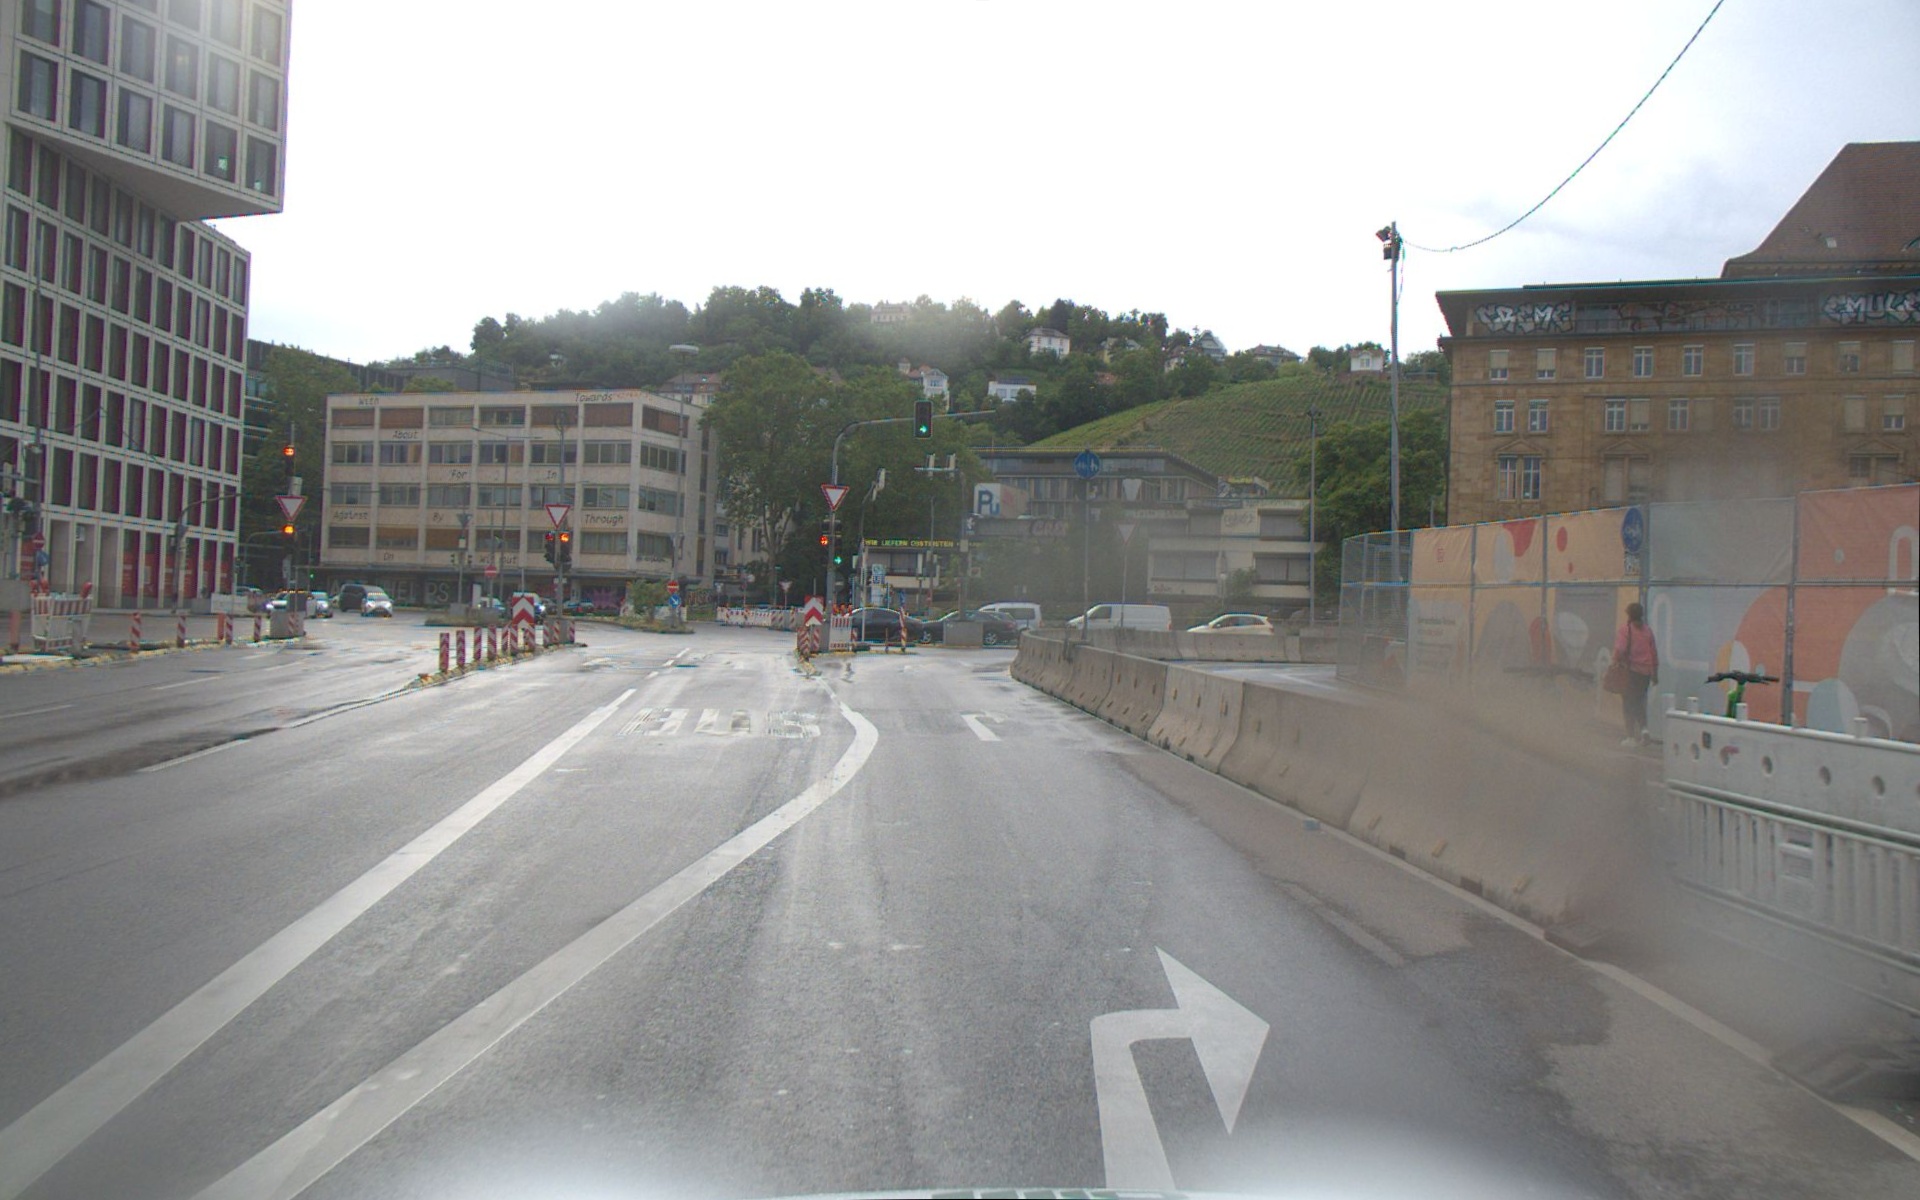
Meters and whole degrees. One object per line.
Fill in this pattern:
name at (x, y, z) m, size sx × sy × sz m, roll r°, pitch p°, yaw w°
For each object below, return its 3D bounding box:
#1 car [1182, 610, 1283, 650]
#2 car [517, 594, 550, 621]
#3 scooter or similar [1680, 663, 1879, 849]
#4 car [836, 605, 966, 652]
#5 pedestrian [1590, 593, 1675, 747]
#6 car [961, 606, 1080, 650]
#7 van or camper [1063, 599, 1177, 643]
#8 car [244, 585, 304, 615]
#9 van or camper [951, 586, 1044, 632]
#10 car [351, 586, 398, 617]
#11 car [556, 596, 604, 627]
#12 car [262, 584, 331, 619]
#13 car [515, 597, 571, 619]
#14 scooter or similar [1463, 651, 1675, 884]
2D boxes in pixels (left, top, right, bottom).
car at (12.569, 1.391, 76.326) m, size 4.279 × 1.703 × 1.847 m, roll 2°, pitch 0°, yaw -3°
car at (-24.669, 0.430, 95.731) m, size 1.800 × 1.512 × 3.985 m, roll 2°, pitch 0°, yaw -14°
scooter or similar at (5.910, 1.093, 12.005) m, size 0.459 × 1.204 × 1.409 m, roll 2°, pitch 0°, yaw -15°
car at (-2.265, 1.087, 63.201) m, size 4.580 × 1.626 × 2.006 m, roll 2°, pitch 0°, yaw -20°
pedestrian at (8.534, 0.875, 21.010) m, size 0.705 × 1.899 × 0.708 m, roll 2°, pitch 0°, yaw -8°
car at (2.458, 1.134, 67.865) m, size 4.560 × 1.626 × 2.015 m, roll 2°, pitch 0°, yaw -8°
van or camper at (7.610, 0.986, 79.008) m, size 5.098 × 1.927 × 1.884 m, roll 2°, pitch 0°, yaw -8°
car at (-45.812, -0.005, 110.425) m, size 3.917 × 1.847 × 1.800 m, roll 2°, pitch 0°, yaw 34°
van or camper at (1.775, 0.428, 78.635) m, size 4.162 × 2.013 × 1.848 m, roll 2°, pitch 0°, yaw -8°
car at (-36.754, 0.094, 103.860) m, size 1.784 × 1.847 × 3.952 m, roll 2°, pitch 0°, yaw -35°
car at (-26.944, 0.828, 117.227) m, size 1.976 × 2.049 × 3.953 m, roll 2°, pitch 0°, yaw -34°
car at (-35.458, 0.108, 88.519) m, size 2.180 × 1.784 × 4.805 m, roll 1°, pitch -1°, yaw -7°
car at (-31.418, 0.568, 124.664) m, size 3.989 × 1.518 × 1.732 m, roll 2°, pitch 0°, yaw 30°
scooter or similar at (3.656, 0.963, 10.060) m, size 0.661 × 1.236 × 1.571 m, roll 2°, pitch 0°, yaw -1°
